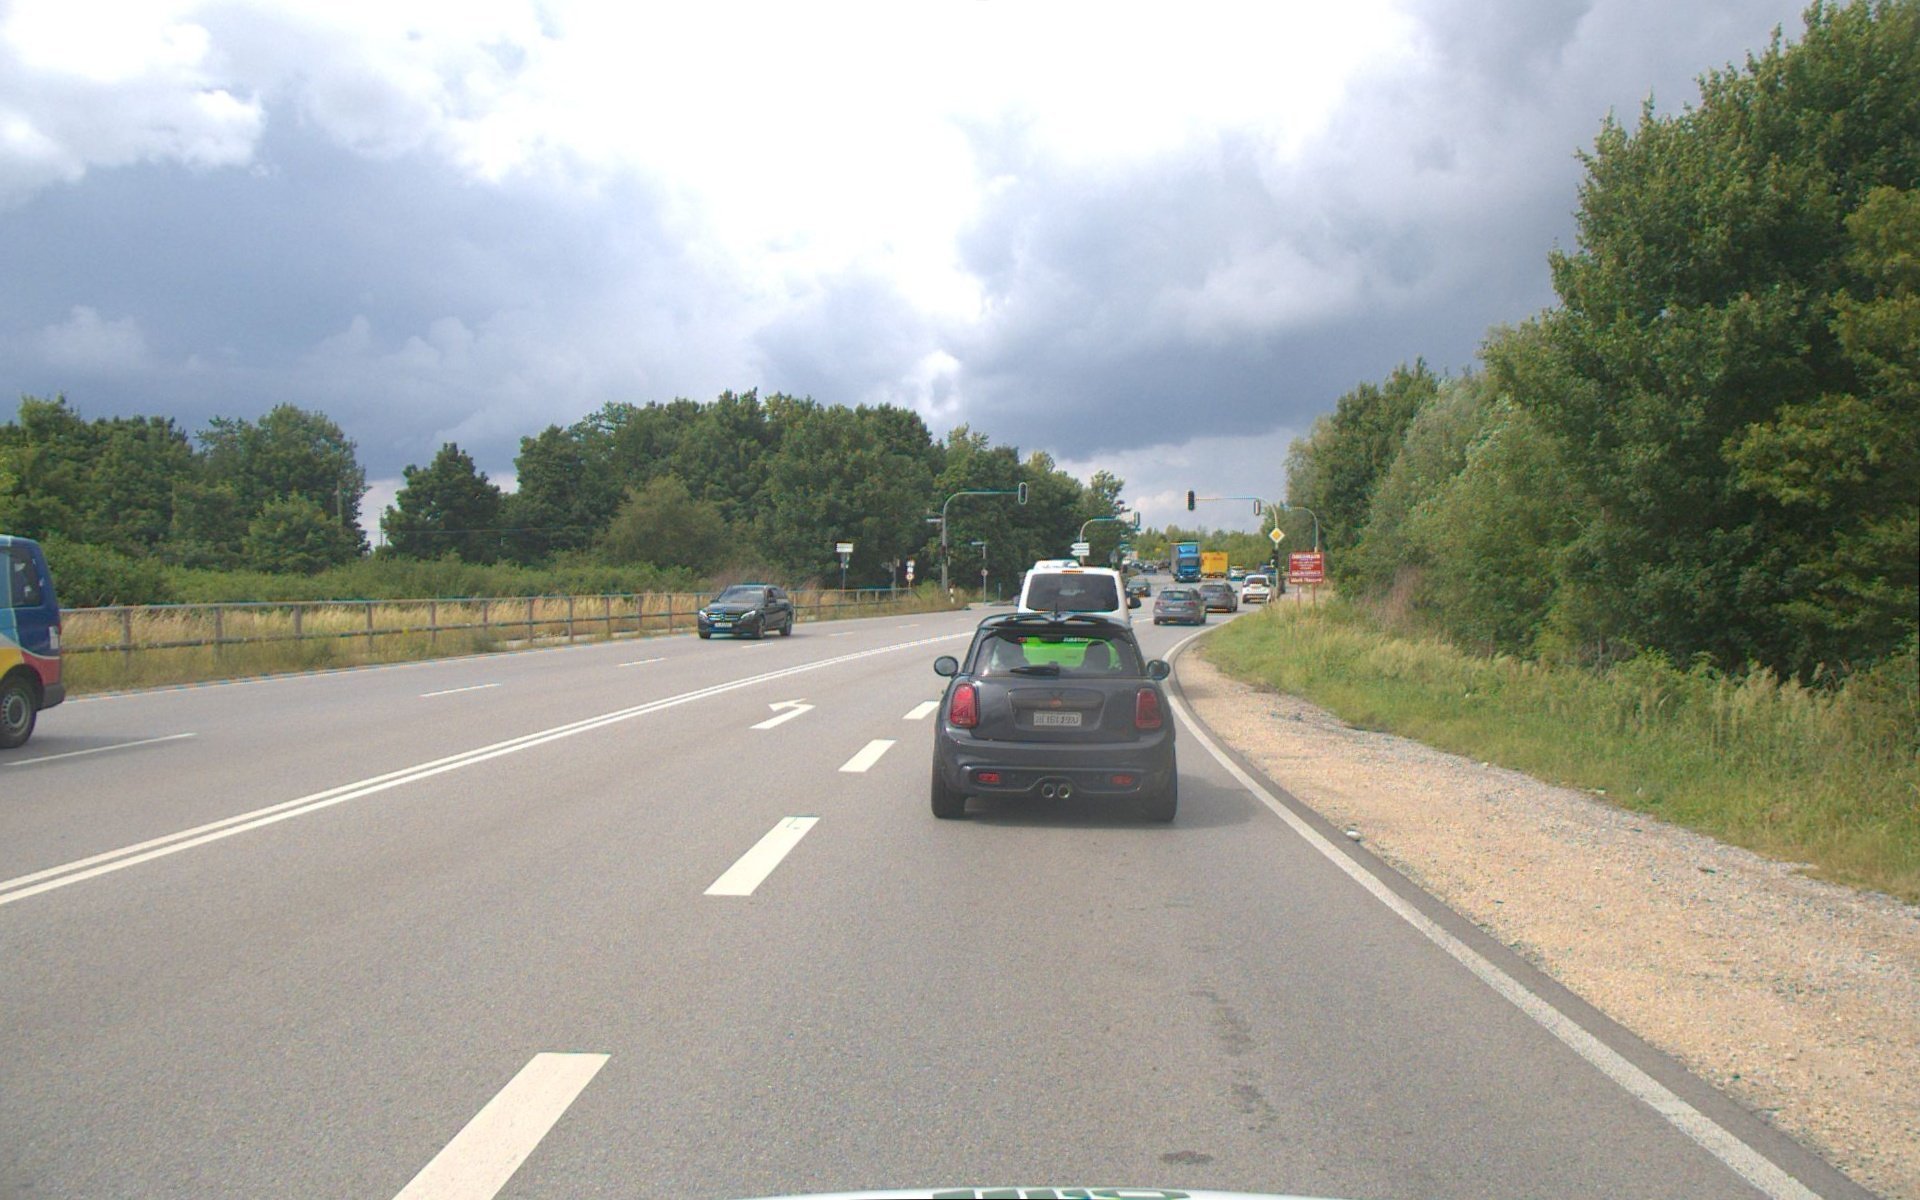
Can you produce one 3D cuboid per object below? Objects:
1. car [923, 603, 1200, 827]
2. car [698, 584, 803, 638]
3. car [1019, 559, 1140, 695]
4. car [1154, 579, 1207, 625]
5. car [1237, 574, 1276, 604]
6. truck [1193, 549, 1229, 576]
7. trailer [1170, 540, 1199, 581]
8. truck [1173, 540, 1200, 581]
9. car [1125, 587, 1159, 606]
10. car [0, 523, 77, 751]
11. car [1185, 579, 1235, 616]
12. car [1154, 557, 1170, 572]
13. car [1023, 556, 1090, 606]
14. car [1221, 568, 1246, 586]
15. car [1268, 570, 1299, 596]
[{"bbox_3d":[0.739,0.764,12.844,1.806,1.453,3.842,1,0,2],"label":"car"},{"bbox_3d":[-5.972,0.285,47.641,1.770,1.467,4.357,0,0,10],"label":"car"},{"bbox_3d":[1.964,0.380,26.948,1.806,2.021,3.843,1,1,5],"label":"car"},{"bbox_3d":[8.721,0.117,65.256,1.951,1.713,4.003,1,-1,9],"label":"car"},{"bbox_3d":[17.895,-0.644,99.723,1.951,1.713,4.003,1,-1,14],"label":"car"},{"bbox_3d":[28.972,-4.344,191.178,2.662,2.948,8.768,0,0,-2],"label":"truck"},{"bbox_3d":[23.824,-4.159,175.667,2.474,4.172,6.738,0,1,3],"label":"trailer"},{"bbox_3d":[23.627,-4.096,172.425,2.487,4.167,4.002,0,1,3],"label":"truck"},{"bbox_3d":[14.217,-0.297,128.763,1.905,1.466,4.002,0,1,17],"label":"car"},{"bbox_3d":[-9.662,0.332,13.754,1.952,2.049,4.669,0,0,3],"label":"car"},{"bbox_3d":[12.568,-0.112,83.027,1.951,1.713,3.979,1,-1,16],"label":"car"},{"bbox_3d":[29.785,-5.220,244.114,1.952,2.049,4.000,1,-1,1],"label":"car"},{"bbox_3d":[5.568,-1.074,94.583,2.382,2.721,6.893,1,0,16],"label":"car"},{"bbox_3d":[28.702,-2.411,173.875,1.952,1.818,4.486,0,1,0],"label":"car"},{"bbox_3d":[23.106,-1.208,118.058,1.951,1.713,4.003,1,-1,14],"label":"car"}]
